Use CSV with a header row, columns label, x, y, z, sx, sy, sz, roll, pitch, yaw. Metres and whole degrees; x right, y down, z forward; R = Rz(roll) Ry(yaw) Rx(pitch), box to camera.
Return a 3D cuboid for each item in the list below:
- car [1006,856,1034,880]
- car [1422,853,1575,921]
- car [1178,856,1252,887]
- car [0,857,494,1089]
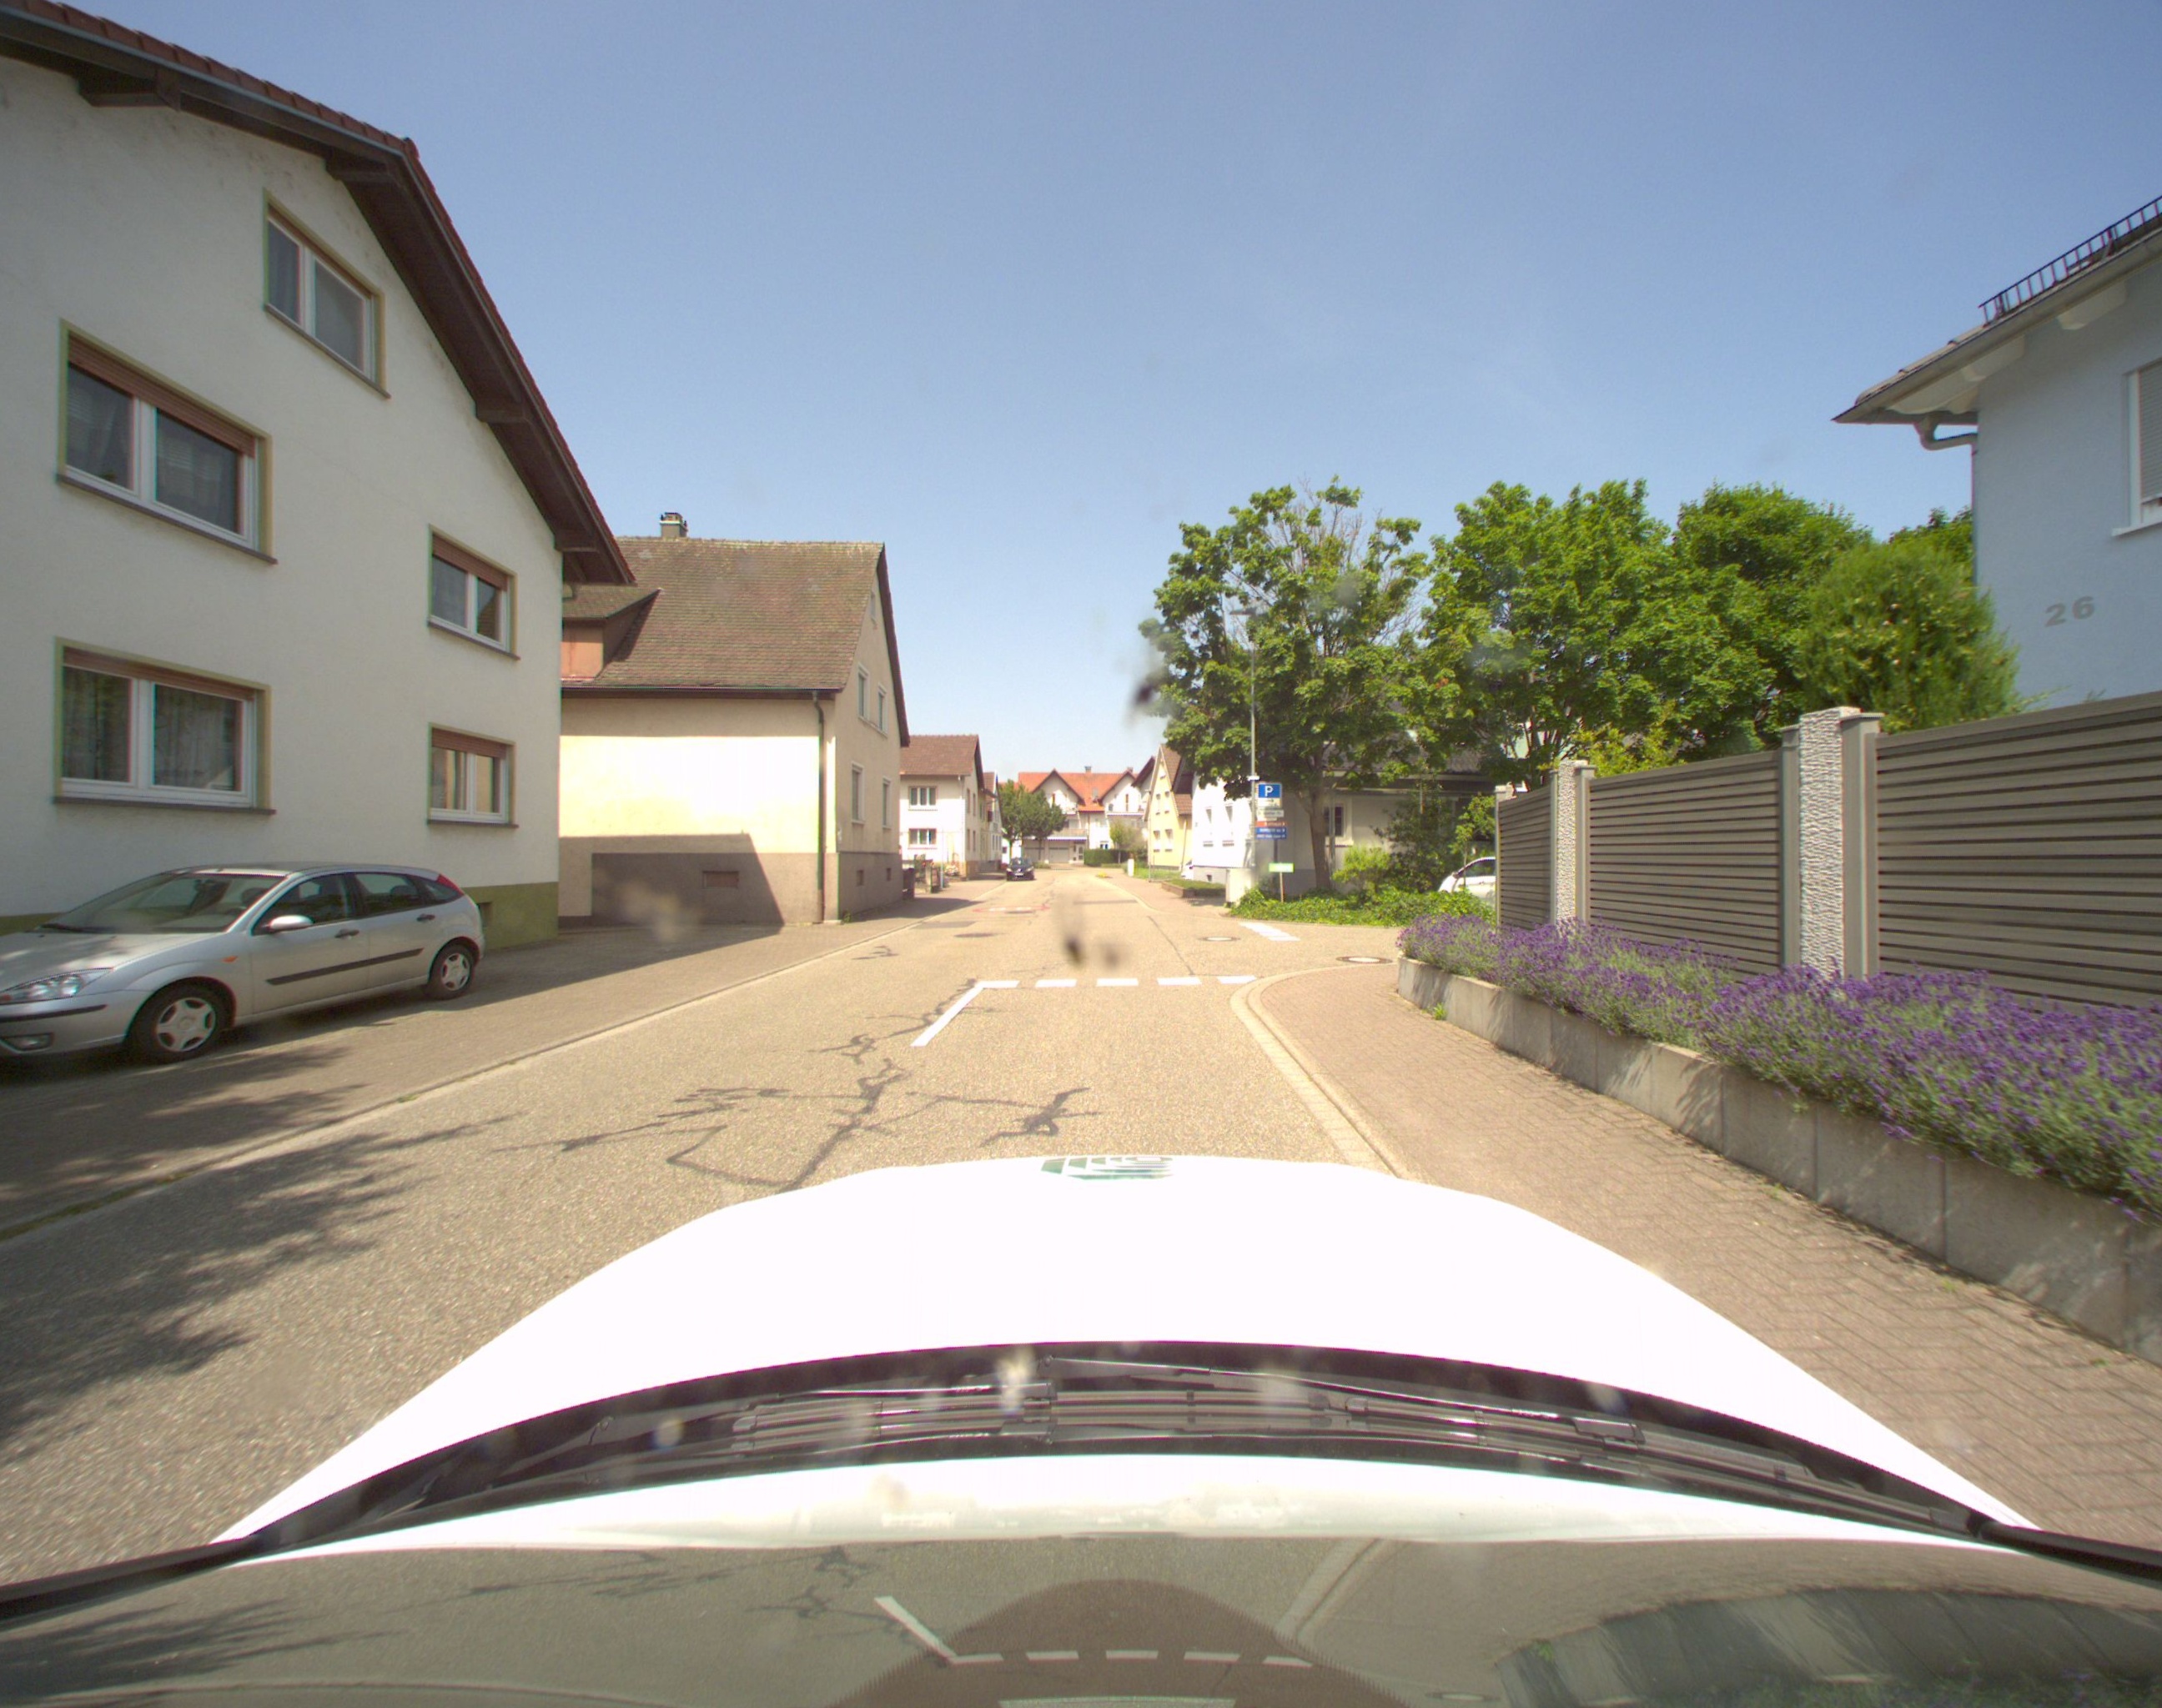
label,x,y,z,sx,sy,sz,roll,pitch,yaw
car,-3.885,0.883,52.461,1.623,1.486,3.996,-1,0,-3
car,10.053,0.725,19.926,1.591,1.445,3.558,0,1,-8
car,6.124,0.795,37.406,3.042,1.345,1.418,-1,-1,-9
car,-7.544,0.764,7.191,1.773,1.434,4.055,0,0,0
